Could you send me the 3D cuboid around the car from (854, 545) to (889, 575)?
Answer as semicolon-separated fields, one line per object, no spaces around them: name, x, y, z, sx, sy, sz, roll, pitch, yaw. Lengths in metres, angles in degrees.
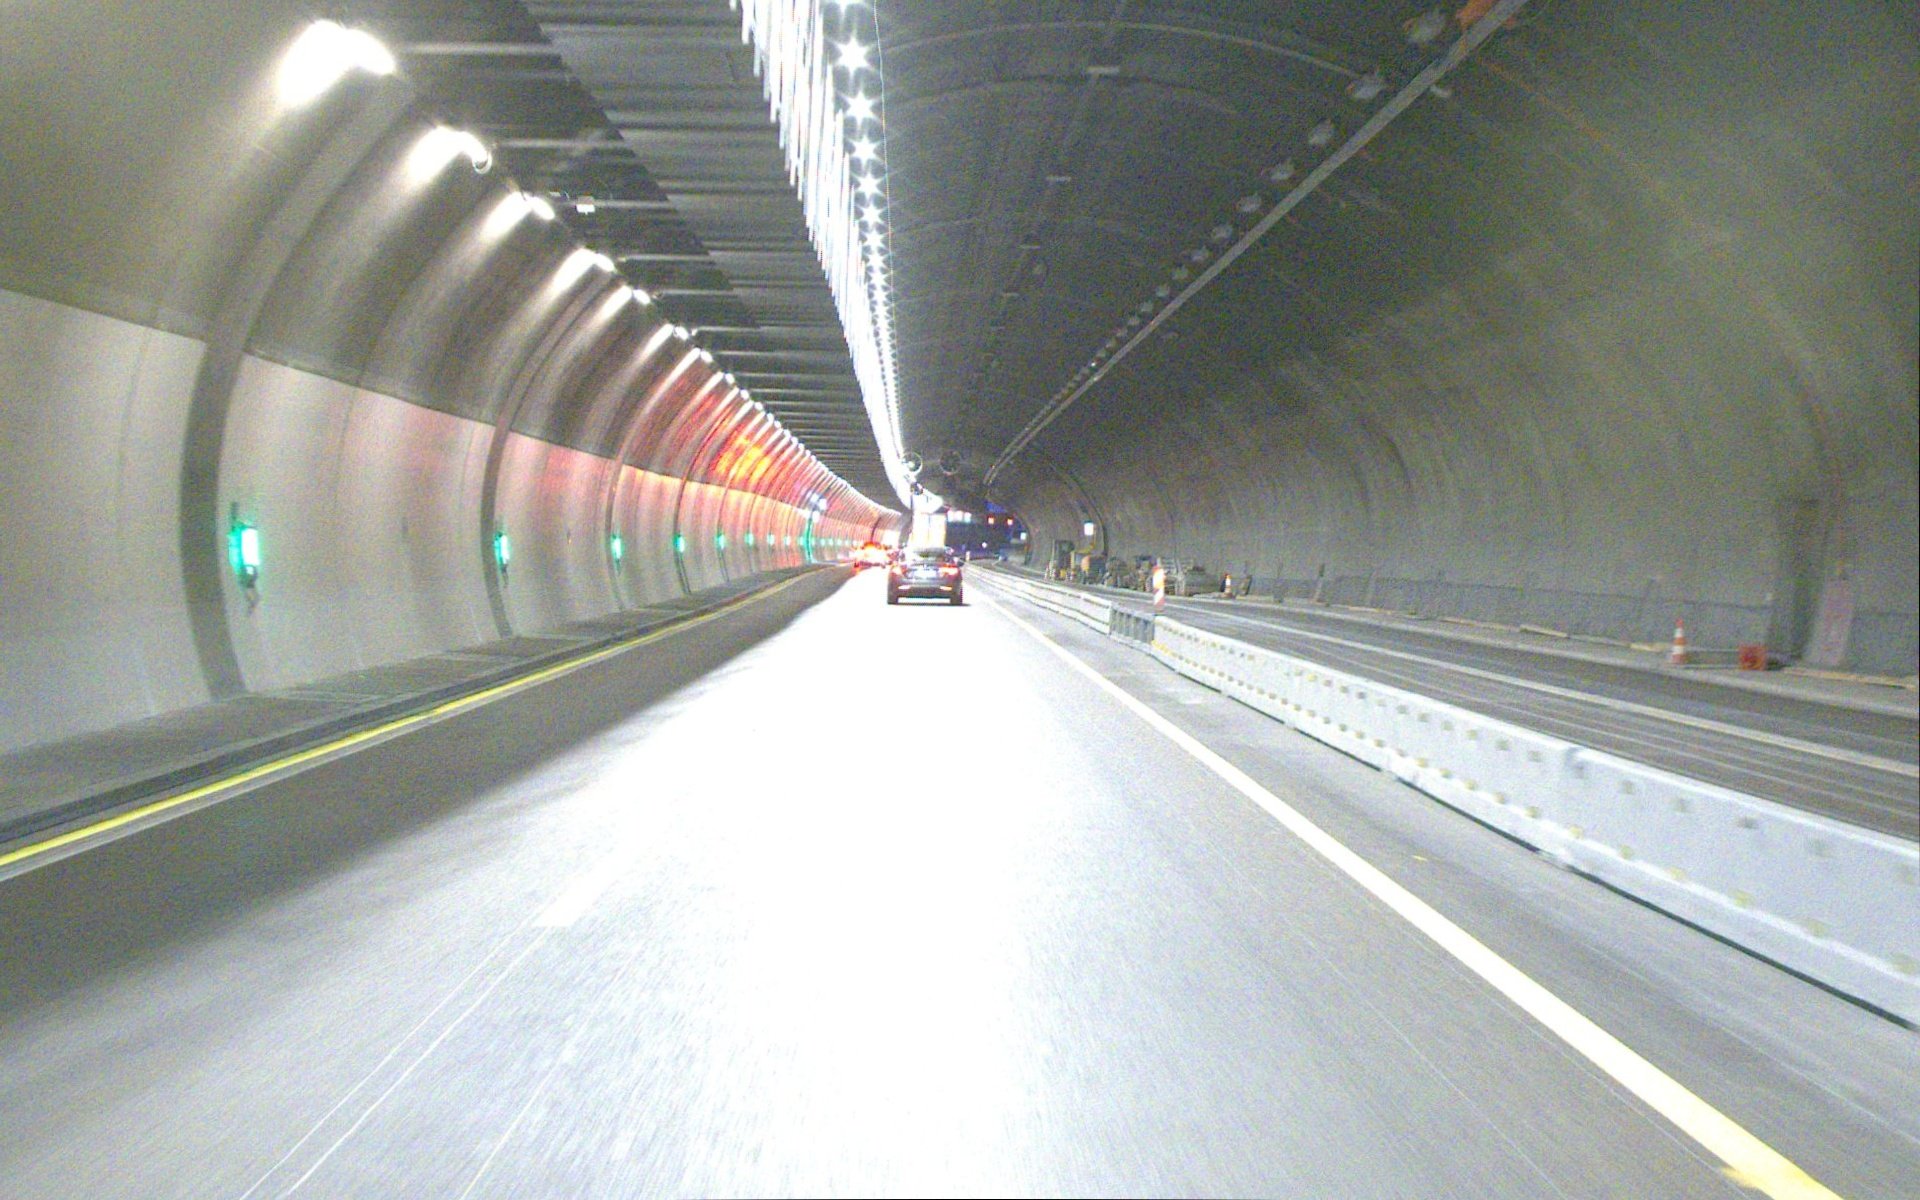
car;-5.058;-2.310;196.621;1.930;1.681;4.000;1;1;-2

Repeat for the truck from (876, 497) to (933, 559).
truck;-4.178;-5.440;260.481;4.066;4.517;14.966;1;1;-1

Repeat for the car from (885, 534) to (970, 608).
car;-0.843;-0.750;86.142;1.946;1.788;4.001;1;1;-3

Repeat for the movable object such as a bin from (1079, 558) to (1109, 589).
movable object such as a bin;6.497;-1.298;166.624;1.234;1.437;2.217;3;1;-1

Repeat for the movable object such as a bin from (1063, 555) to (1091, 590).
movable object such as a bin;6.050;-1.429;178.346;1.234;1.713;2.217;3;1;-1
